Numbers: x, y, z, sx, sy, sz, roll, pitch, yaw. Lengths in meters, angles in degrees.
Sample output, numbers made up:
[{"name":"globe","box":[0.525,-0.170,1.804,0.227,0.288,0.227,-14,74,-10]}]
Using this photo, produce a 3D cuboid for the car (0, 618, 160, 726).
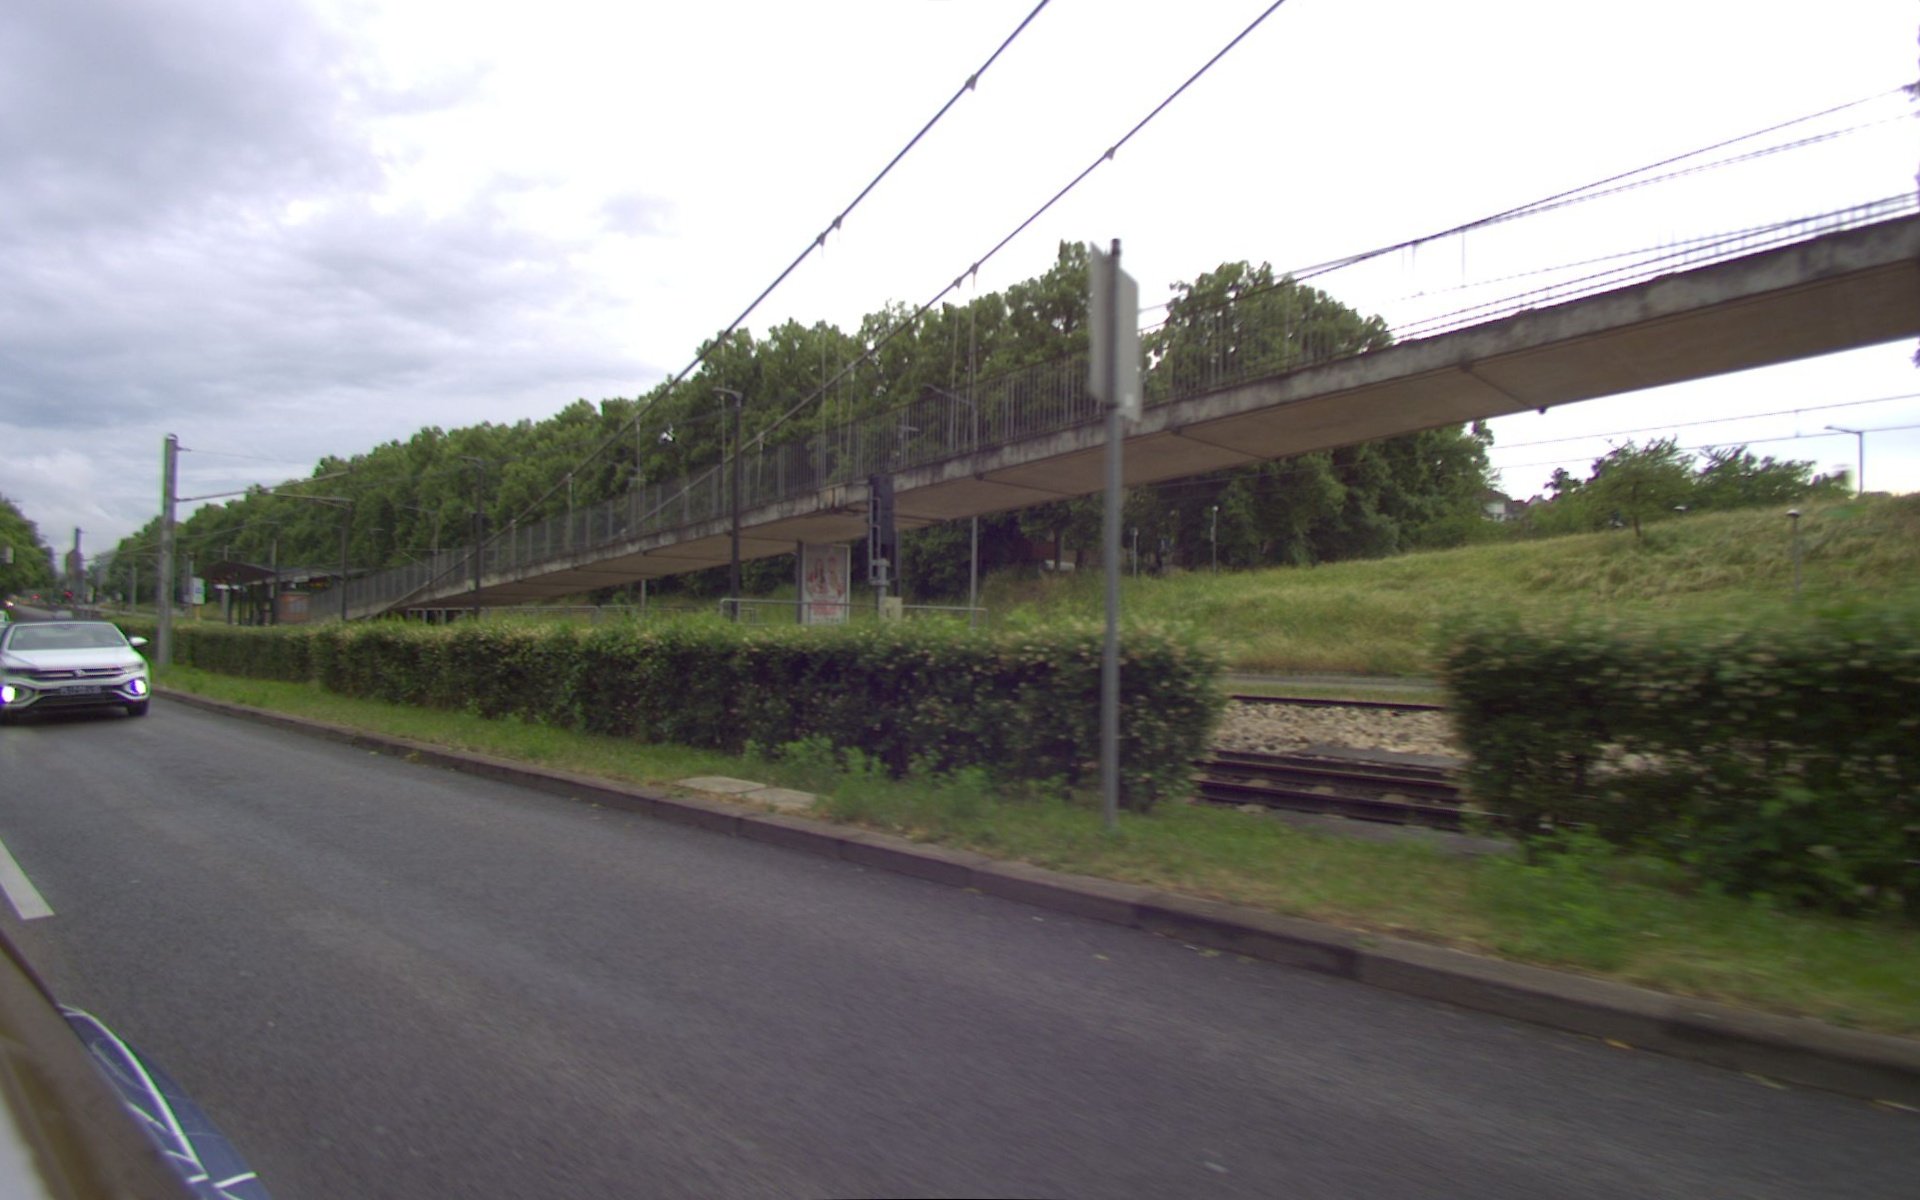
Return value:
[{"name":"car","box":[-14.459,1.035,16.138,4.698,1.476,1.934,-1,-1,42]}]

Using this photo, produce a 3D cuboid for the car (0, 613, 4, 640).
[{"name":"car","box":[-71.286,1.934,74.009,1.932,1.939,4.849,-2,1,-44]}]

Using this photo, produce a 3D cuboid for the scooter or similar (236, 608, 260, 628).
[{"name":"scooter or similar","box":[-44.574,1.121,63.348,1.283,1.227,0.379,0,1,3]}]

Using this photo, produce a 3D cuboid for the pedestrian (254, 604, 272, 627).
[{"name":"pedestrian","box":[-41.861,0.948,60.774,0.744,1.366,0.693,1,-1,-44]}]

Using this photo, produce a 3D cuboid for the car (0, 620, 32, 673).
[{"name":"car","box":[-30.034,1.425,31.206,1.931,1.492,4.706,-2,1,-41]}]
